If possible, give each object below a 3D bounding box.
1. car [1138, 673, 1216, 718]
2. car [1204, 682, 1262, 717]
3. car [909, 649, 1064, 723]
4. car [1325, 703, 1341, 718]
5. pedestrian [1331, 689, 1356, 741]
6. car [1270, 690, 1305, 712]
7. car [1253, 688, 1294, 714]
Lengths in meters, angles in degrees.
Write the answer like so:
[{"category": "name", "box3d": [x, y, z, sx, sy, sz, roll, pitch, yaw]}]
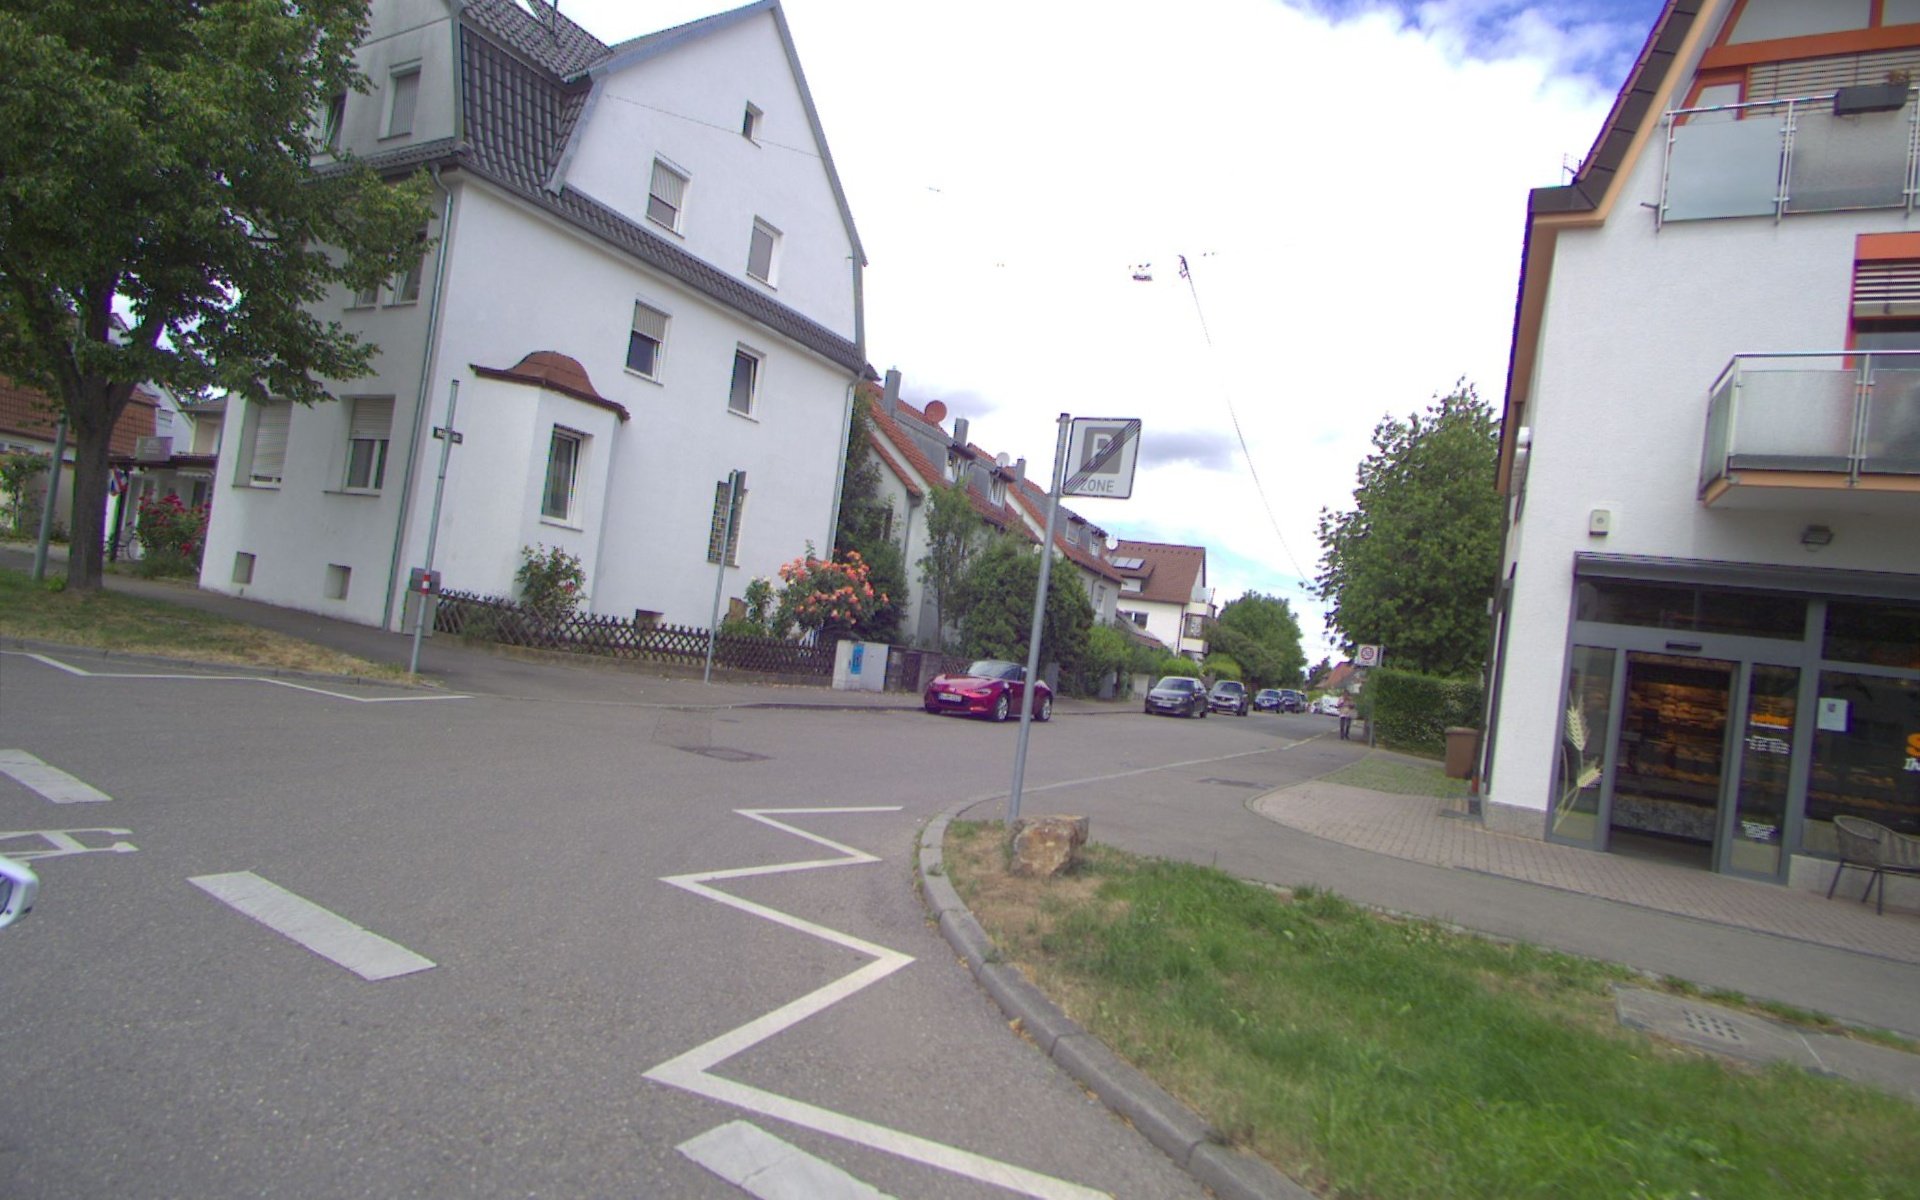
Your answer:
[{"category": "car", "box3d": [7.884, 3.471, 36.343, 1.631, 1.321, 3.694, 7, -2, 29]}, {"category": "car", "box3d": [12.742, 4.638, 46.863, 1.631, 1.321, 3.694, 7, -2, 29]}, {"category": "car", "box3d": [0.665, 1.871, 21.452, 1.717, 1.243, 3.708, 5, -4, 29]}, {"category": "car", "box3d": [44.073, 13.071, 118.828, 1.629, 1.436, 3.698, 7, -2, 21]}, {"category": "pedestrian", "box3d": [12.180, 3.658, 31.973, 0.552, 1.576, 0.577, 4, -3, 30]}, {"category": "car", "box3d": [24.052, 7.435, 73.839, 1.631, 1.321, 3.694, 7, -2, 29]}, {"category": "car", "box3d": [19.797, 6.378, 63.474, 1.631, 1.321, 3.694, 7, -2, 29]}]
